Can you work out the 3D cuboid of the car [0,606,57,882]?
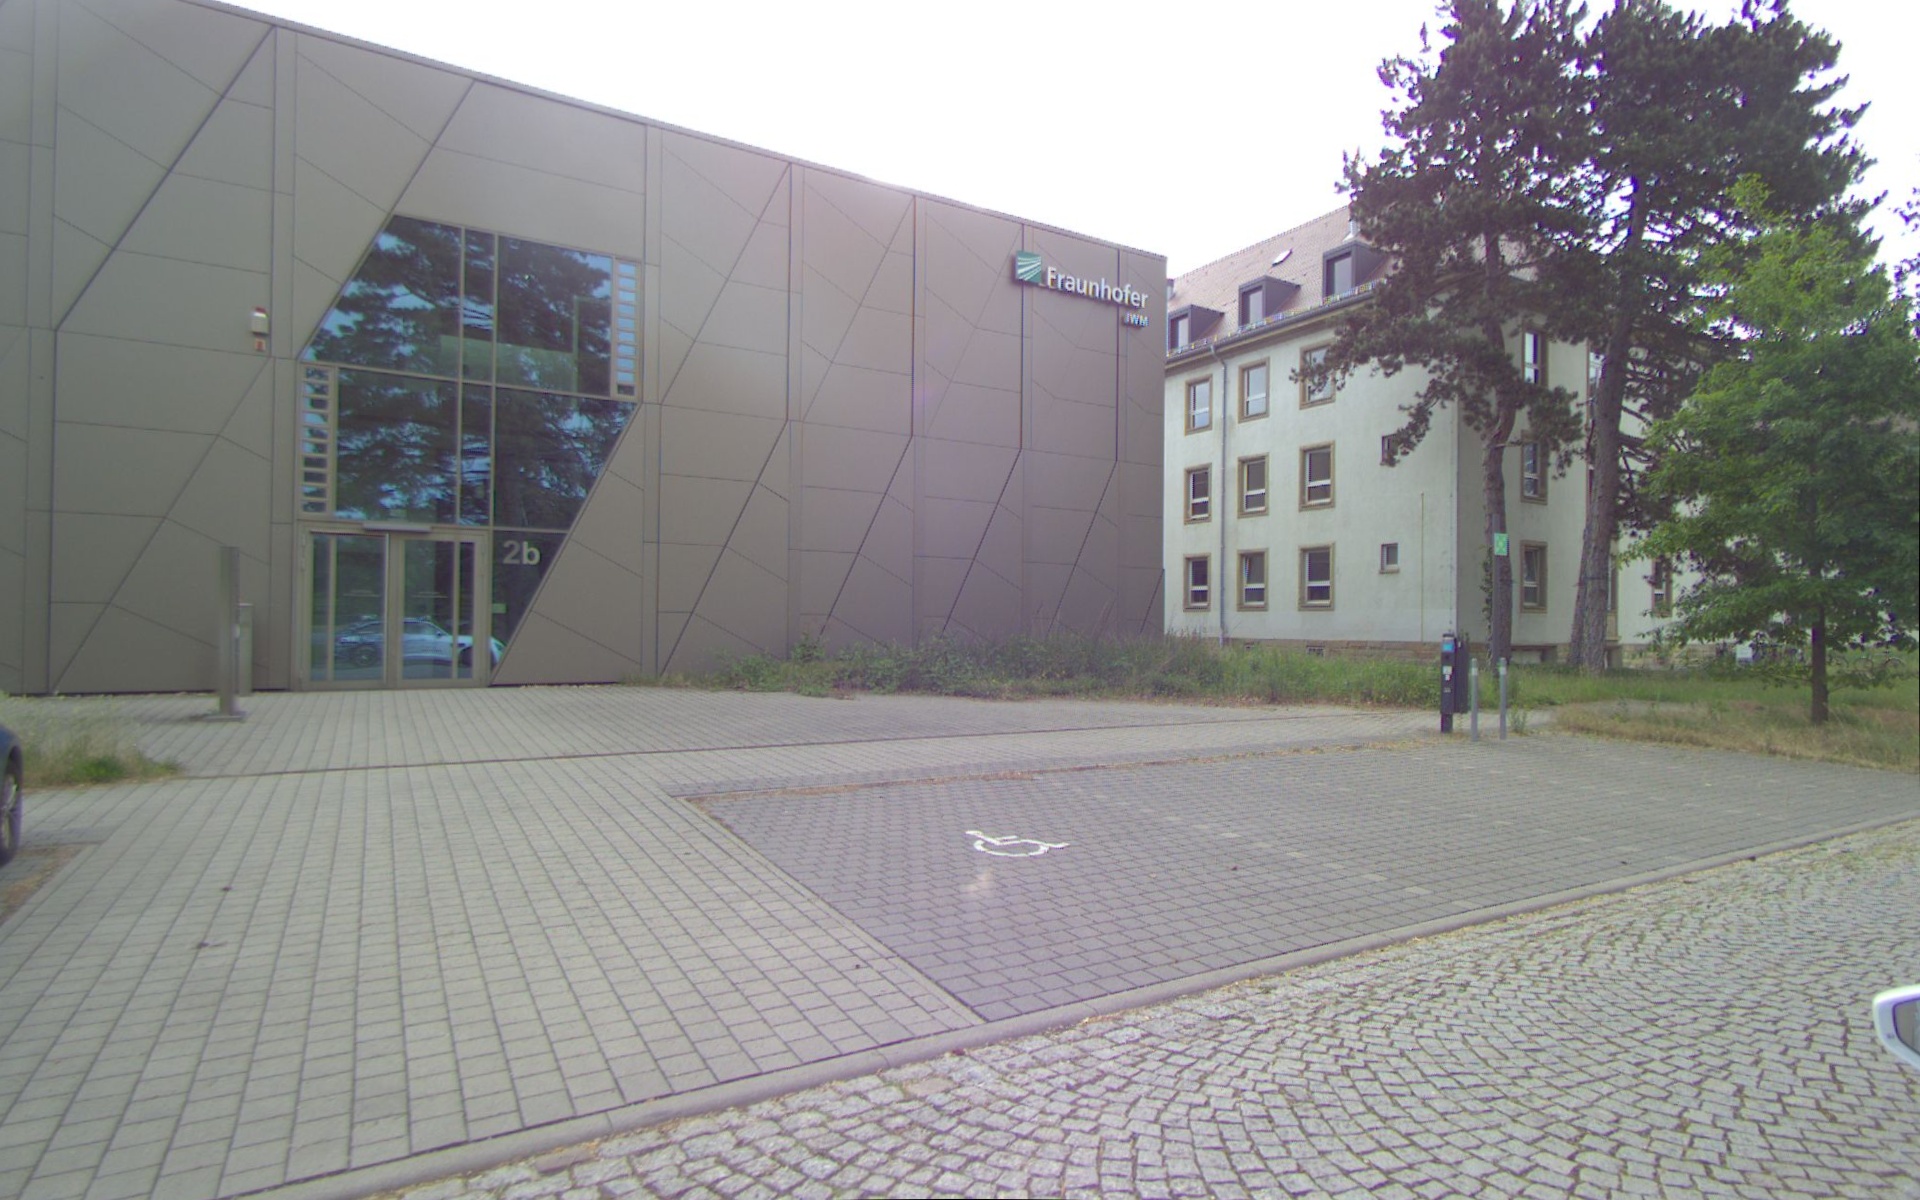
[{"bbox_3d":[-5.427,0.808,4.262,1.616,1.489,4.389,2,0,-32],"label":"car"}]

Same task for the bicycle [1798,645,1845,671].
[{"bbox_3d":[37.773,2.523,44.054,0.510,1.093,1.457,2,-2,-32],"label":"bicycle"}]

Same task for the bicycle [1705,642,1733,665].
[{"bbox_3d":[36.681,2.578,48.551,1.567,1.093,0.512,2,-2,-31],"label":"bicycle"}]

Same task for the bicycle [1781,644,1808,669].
[{"bbox_3d":[38.229,2.579,45.993,1.569,1.093,0.511,2,-2,-34],"label":"bicycle"}]

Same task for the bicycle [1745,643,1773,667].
[{"bbox_3d":[37.542,2.564,47.189,1.567,1.093,0.512,2,-2,-31],"label":"bicycle"}]

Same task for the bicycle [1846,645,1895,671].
[{"bbox_3d":[38.732,2.471,42.728,0.510,1.079,1.457,2,-2,-32],"label":"bicycle"}]

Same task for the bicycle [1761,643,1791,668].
[{"bbox_3d":[37.816,2.569,46.533,1.565,1.093,0.512,2,-2,-28],"label":"bicycle"}]

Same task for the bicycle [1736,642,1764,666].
[{"bbox_3d":[37.366,2.560,47.504,1.567,1.093,0.512,2,-2,-31],"label":"bicycle"}]
